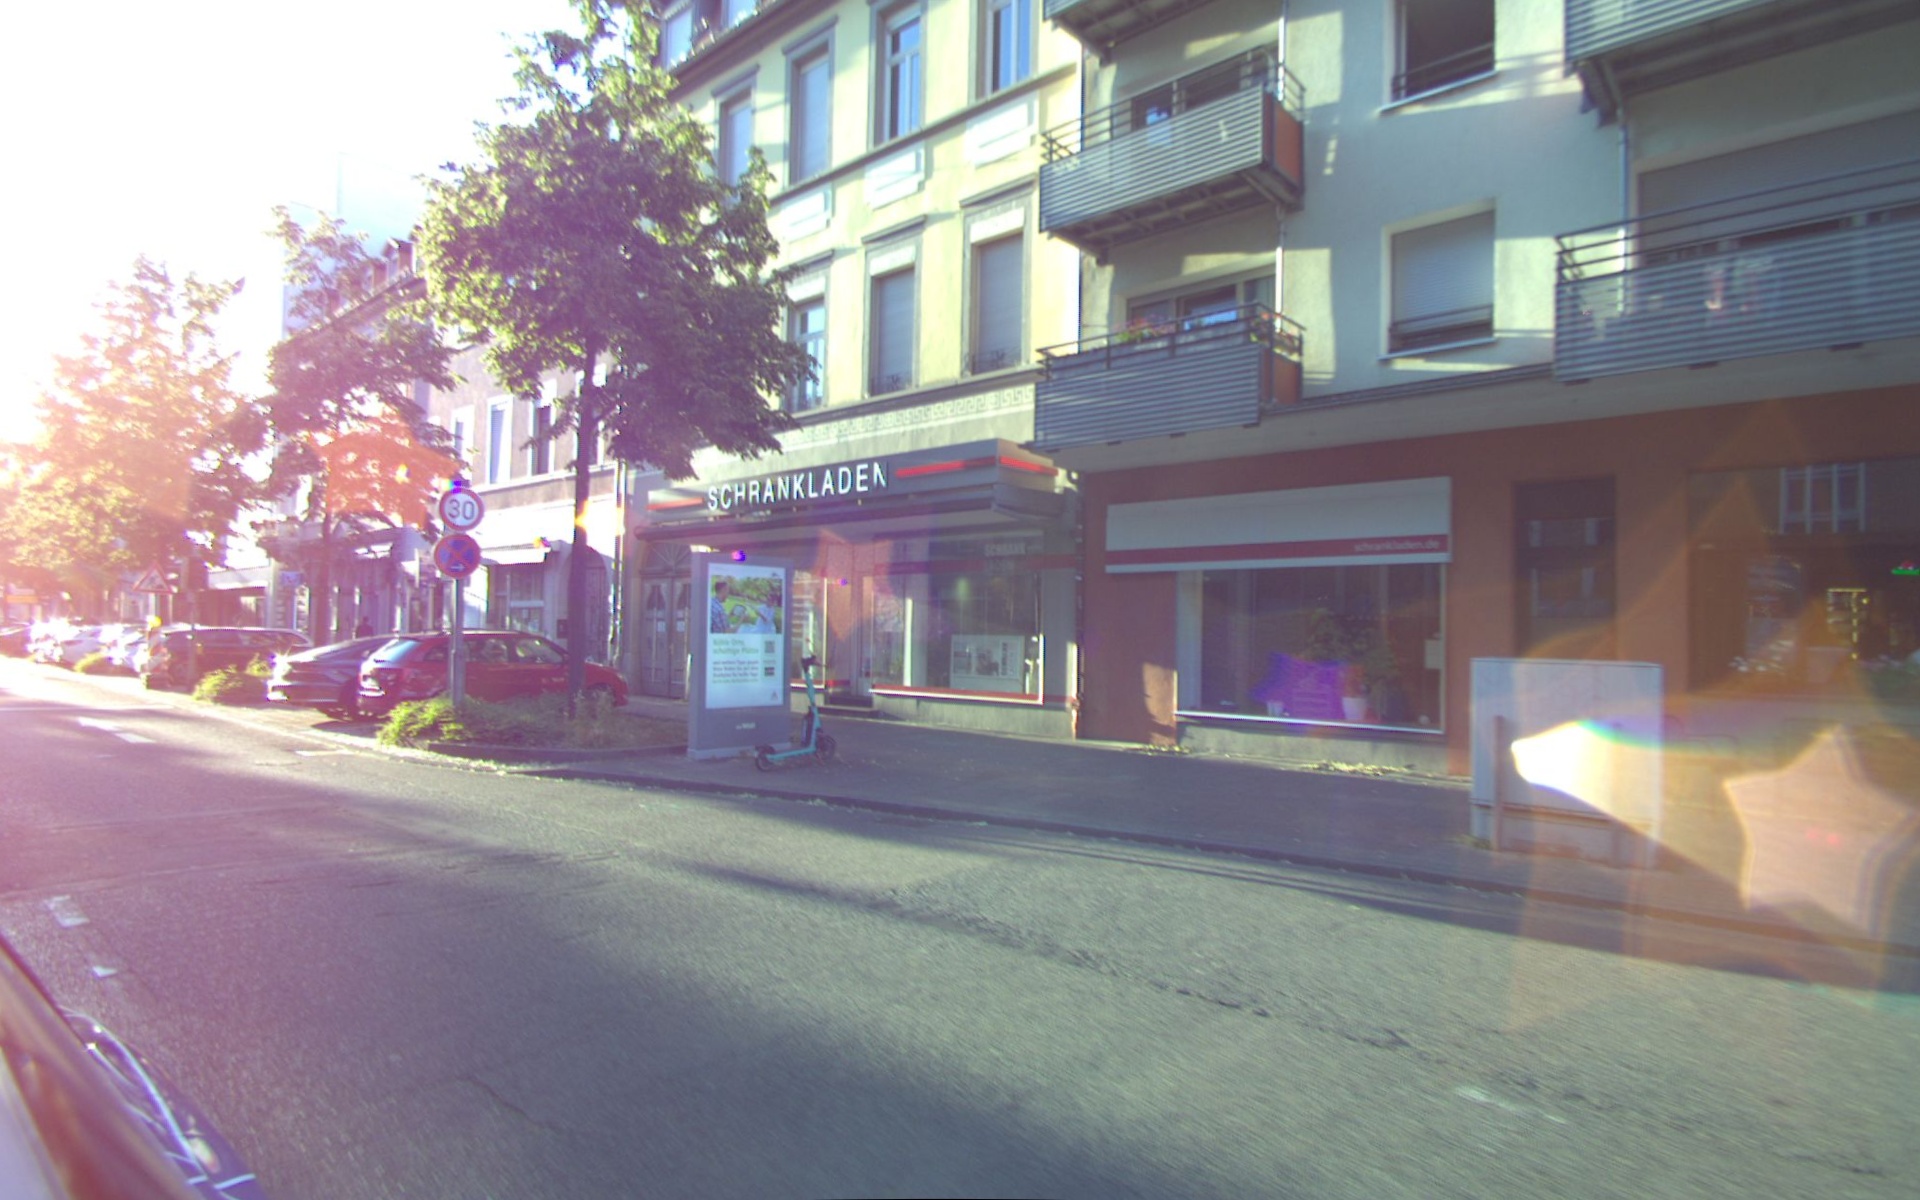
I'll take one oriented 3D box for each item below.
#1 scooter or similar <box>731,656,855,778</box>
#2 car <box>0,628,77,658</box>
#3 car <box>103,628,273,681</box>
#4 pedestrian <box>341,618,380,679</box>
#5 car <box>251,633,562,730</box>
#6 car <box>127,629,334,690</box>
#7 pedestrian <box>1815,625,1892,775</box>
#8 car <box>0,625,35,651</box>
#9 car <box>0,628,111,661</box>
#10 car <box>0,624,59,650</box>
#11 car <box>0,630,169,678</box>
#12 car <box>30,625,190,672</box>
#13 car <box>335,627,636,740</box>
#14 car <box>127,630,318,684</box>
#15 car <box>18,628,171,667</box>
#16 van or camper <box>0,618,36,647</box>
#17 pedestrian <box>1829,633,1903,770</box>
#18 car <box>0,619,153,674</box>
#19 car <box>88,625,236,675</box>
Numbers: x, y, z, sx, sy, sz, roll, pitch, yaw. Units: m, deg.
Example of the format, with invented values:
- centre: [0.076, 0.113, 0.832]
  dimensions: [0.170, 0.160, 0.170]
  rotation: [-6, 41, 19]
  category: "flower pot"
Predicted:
- centre: [-1.847, 1.264, 11.332]
  dimensions: [0.525, 1.235, 1.384]
  rotation: [-1, -2, 38]
  category: "scooter or similar"
- centre: [-51.054, 2.345, 55.403]
  dimensions: [1.742, 1.579, 3.828]
  rotation: [-2, -2, 39]
  category: "car"
- centre: [-22.919, 1.570, 30.135]
  dimensions: [1.804, 1.455, 3.701]
  rotation: [-1, -2, 39]
  category: "car"
- centre: [-17.581, 1.392, 29.678]
  dimensions: [0.875, 1.734, 0.763]
  rotation: [0, 0, 42]
  category: "pedestrian"
- centre: [-9.673, 1.337, 18.003]
  dimensions: [1.820, 1.418, 4.524]
  rotation: [-1, -2, 40]
  category: "car"
- centre: [-19.001, 1.494, 26.497]
  dimensions: [1.882, 1.414, 4.066]
  rotation: [-1, -2, 39]
  category: "car"
- centre: [9.570, 1.045, 10.844]
  dimensions: [0.598, 1.530, 0.665]
  rotation: [0, -2, 42]
  category: "pedestrian"
- centre: [-63.920, 2.501, 66.786]
  dimensions: [1.733, 1.681, 4.136]
  rotation: [-1, -2, 43]
  category: "car"
- centre: [-43.143, 2.094, 47.979]
  dimensions: [1.744, 1.495, 4.229]
  rotation: [-2, -2, 42]
  category: "car"
- centre: [-55.193, 2.146, 58.942]
  dimensions: [1.742, 1.468, 3.828]
  rotation: [-2, -2, 39]
  category: "car"
- centre: [-28.871, 1.718, 33.378]
  dimensions: [1.765, 1.432, 4.108]
  rotation: [-1, -2, 39]
  category: "car"
- centre: [-31.760, 1.770, 37.916]
  dimensions: [1.889, 1.608, 4.361]
  rotation: [-2, -2, 40]
  category: "car"
- centre: [-7.563, 1.237, 16.426]
  dimensions: [1.883, 1.548, 4.029]
  rotation: [-1, -2, 41]
  category: "car"
- centre: [-20.684, 1.557, 28.505]
  dimensions: [1.843, 1.414, 4.052]
  rotation: [-2, -3, 43]
  category: "car"
- centre: [-34.914, 1.873, 40.913]
  dimensions: [1.743, 1.495, 4.500]
  rotation: [-2, -2, 41]
  category: "car"
- centre: [-65.892, 2.205, 68.797]
  dimensions: [1.789, 1.971, 4.410]
  rotation: [-2, -3, 43]
  category: "van or camper"
- centre: [10.205, 1.121, 11.410]
  dimensions: [0.598, 1.469, 0.665]
  rotation: [0, -2, 42]
  category: "pedestrian"
- centre: [-30.947, 1.576, 35.280]
  dimensions: [1.888, 1.786, 4.108]
  rotation: [-1, -2, 39]
  category: "car"
- centre: [-26.018, 1.593, 33.079]
  dimensions: [1.714, 1.513, 3.520]
  rotation: [-1, -2, 40]
  category: "car"
